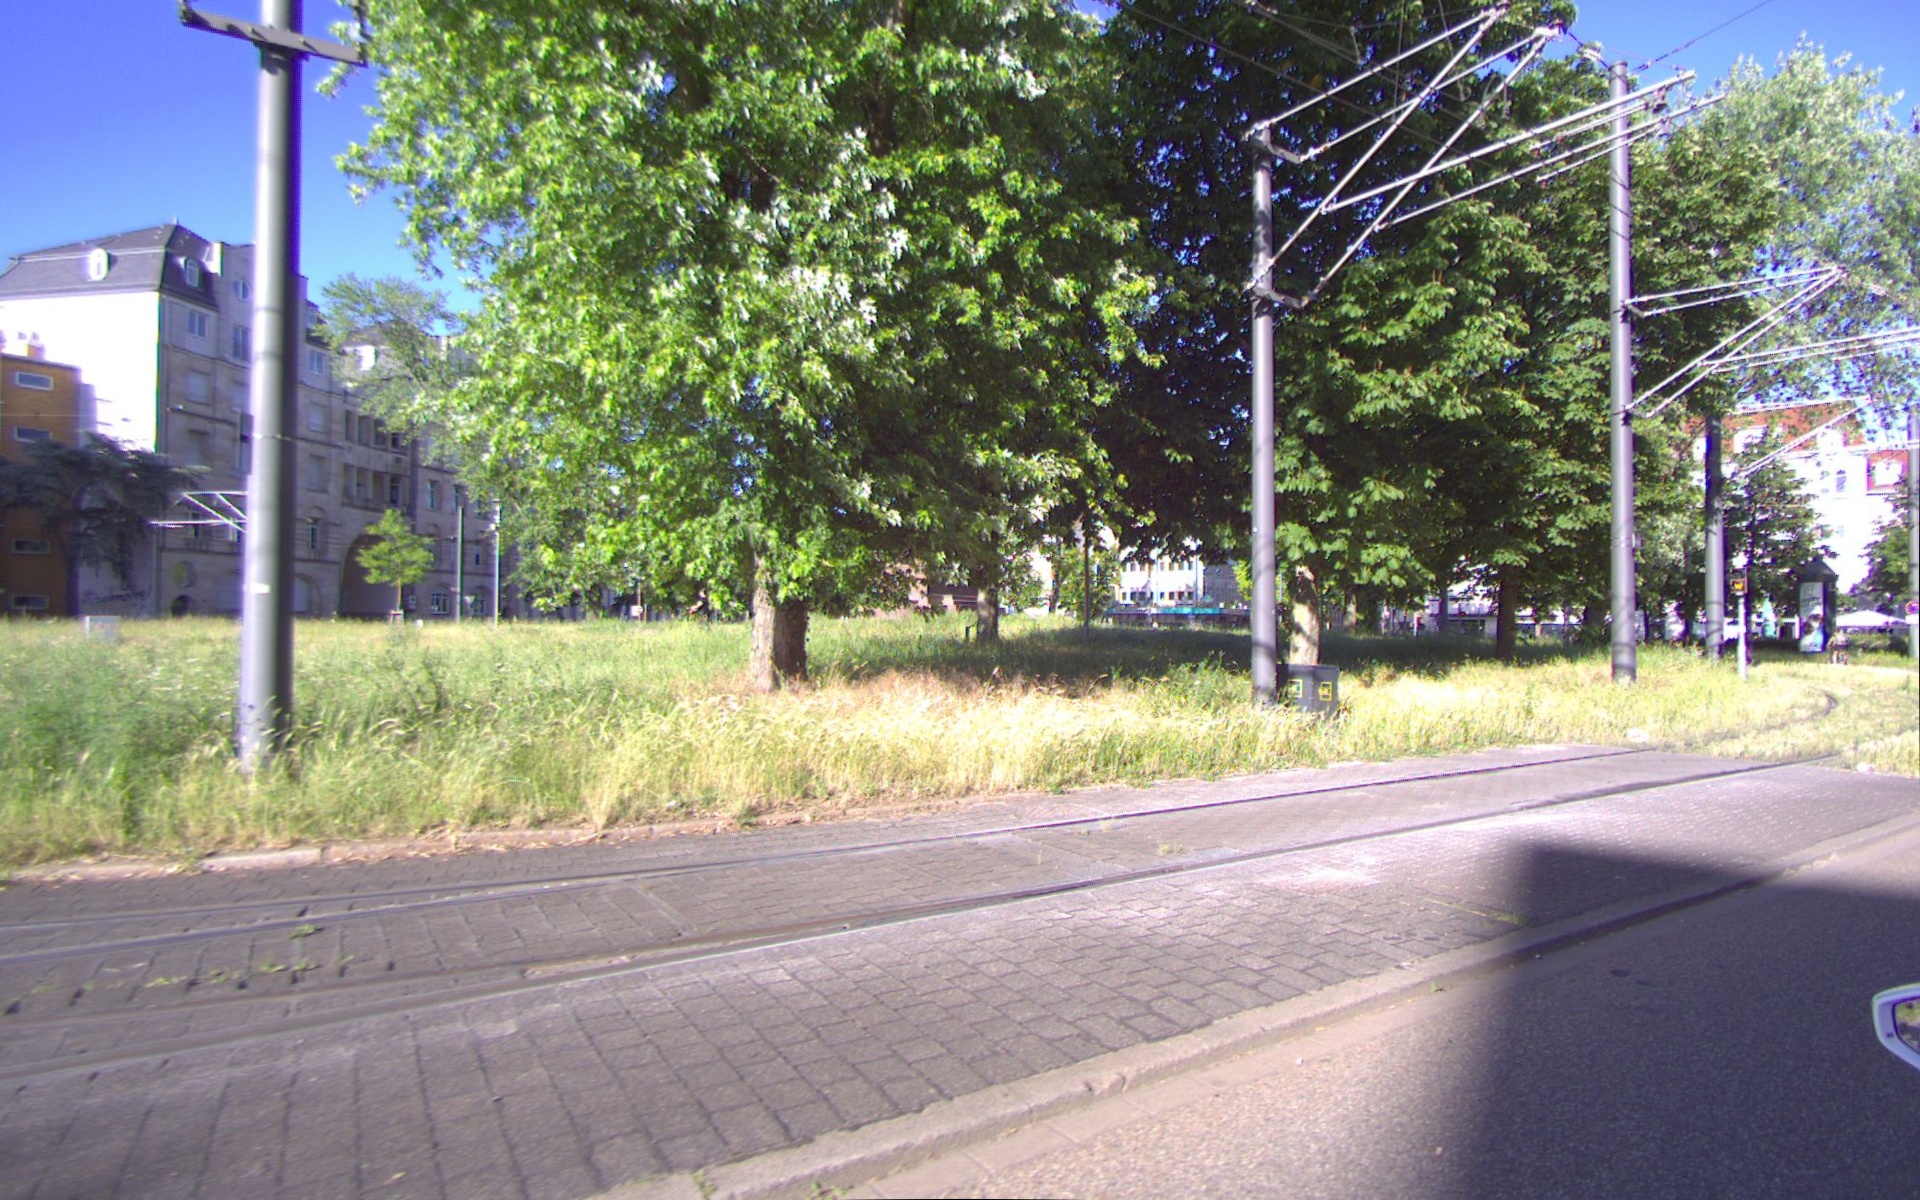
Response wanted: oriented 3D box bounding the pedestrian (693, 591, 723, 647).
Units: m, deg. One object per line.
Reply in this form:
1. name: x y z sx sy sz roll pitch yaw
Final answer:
1. pedestrian: -7.507 0.564 29.891 0.661 1.637 0.555 2 0 4

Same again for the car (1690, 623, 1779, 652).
1. car: 63.064 3.025 81.929 5.495 2.040 1.814 2 -1 31

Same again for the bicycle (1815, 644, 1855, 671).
1. bicycle: 38.198 2.477 43.885 0.798 1.083 2.579 2 -1 29

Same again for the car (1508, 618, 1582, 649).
1. car: 49.355 2.786 84.800 5.263 2.344 1.995 2 -1 34

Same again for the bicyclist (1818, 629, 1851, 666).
1. bicyclist: 38.224 2.071 43.913 0.915 1.527 0.824 2 -1 30
